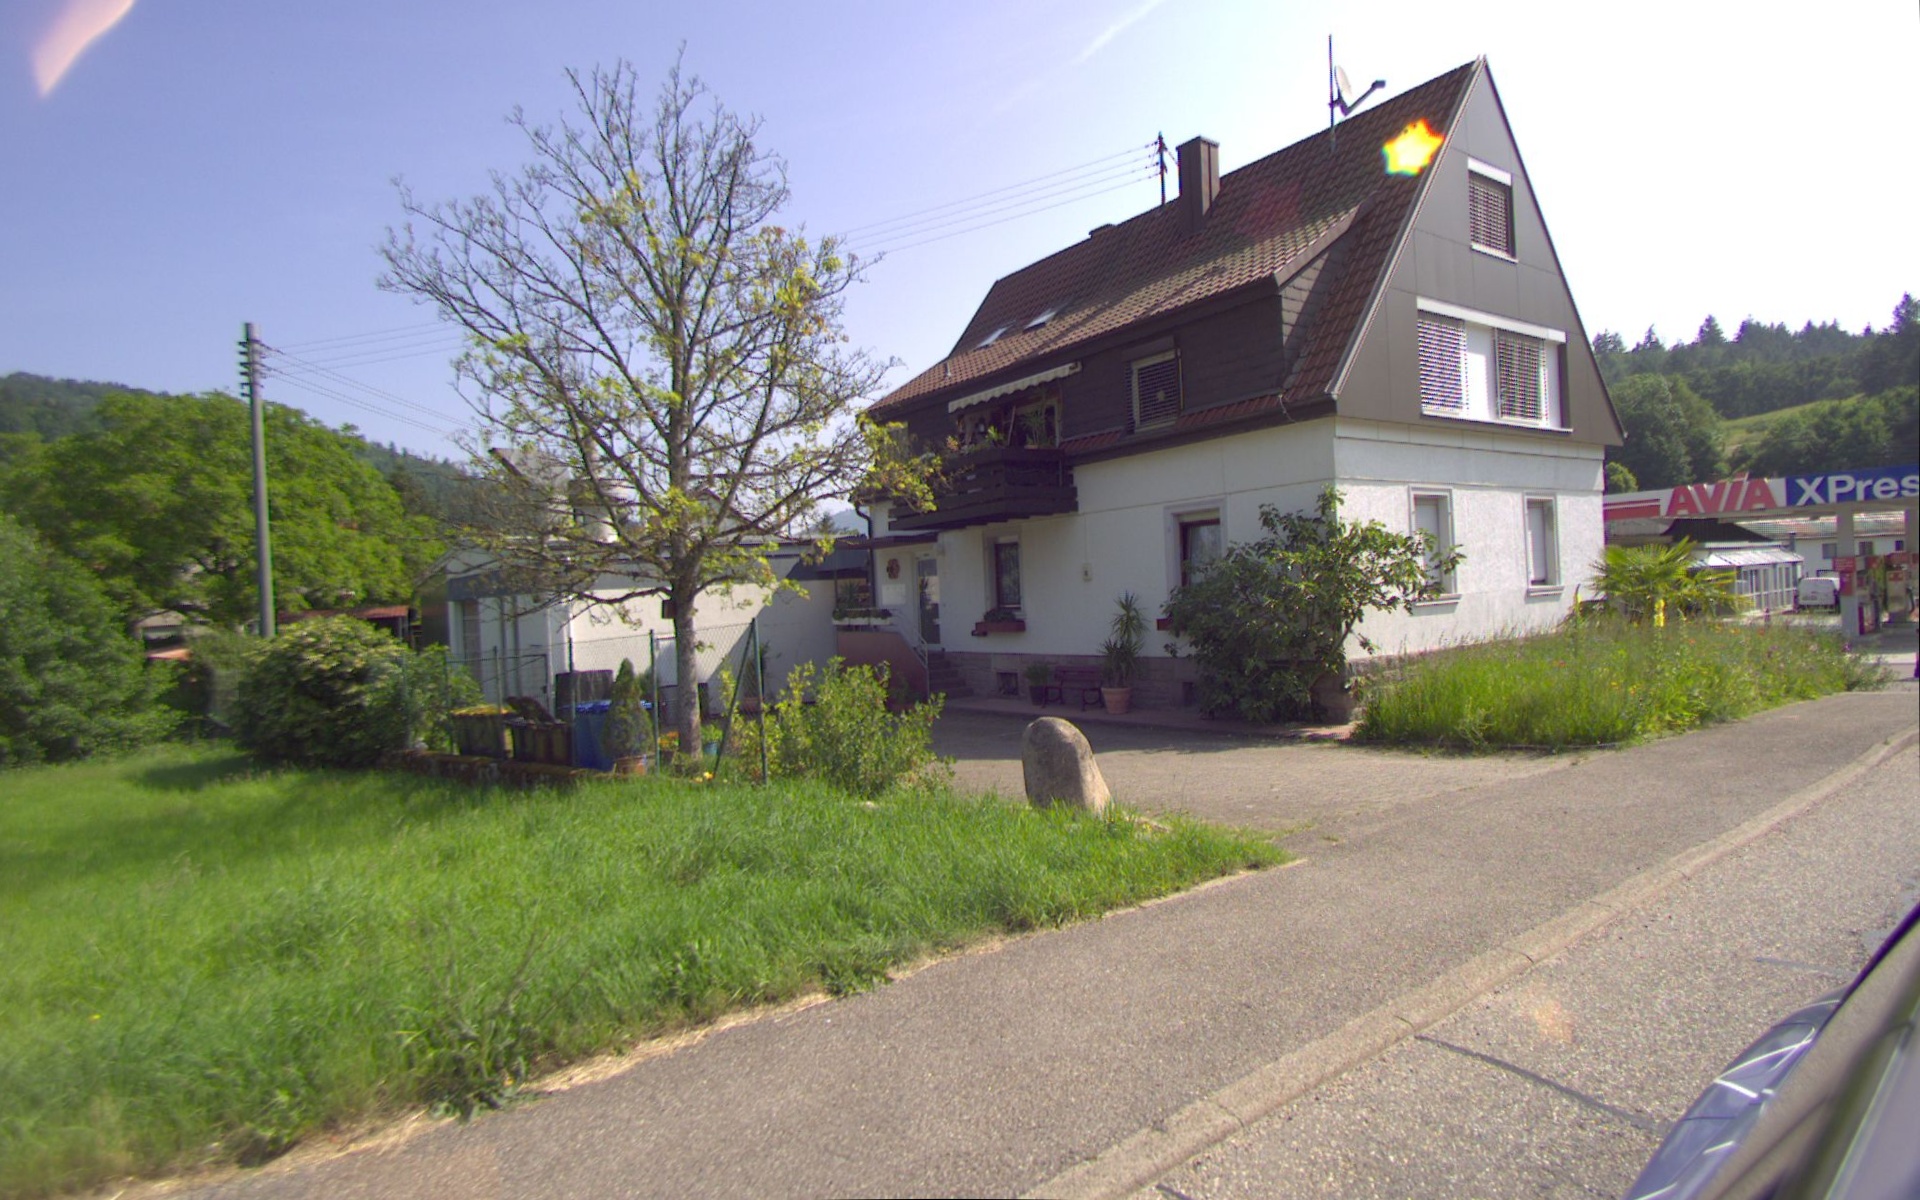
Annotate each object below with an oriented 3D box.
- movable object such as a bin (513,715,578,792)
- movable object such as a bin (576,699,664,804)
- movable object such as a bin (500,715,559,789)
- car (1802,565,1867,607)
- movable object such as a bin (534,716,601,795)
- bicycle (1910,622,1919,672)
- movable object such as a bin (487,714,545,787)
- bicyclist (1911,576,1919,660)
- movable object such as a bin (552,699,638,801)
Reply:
[{"bbox_3d":[-5.479,2.020,13.384,0.567,0.911,0.578,-5,-2,42],"label":"movable object such as a bin"},{"bbox_3d":[-4.077,1.790,12.138,0.567,1.133,0.781,-5,-2,42],"label":"movable object such as a bin"},{"bbox_3d":[-5.840,2.051,13.731,0.418,0.911,0.578,-5,-2,42],"label":"movable object such as a bin"},{"bbox_3d":[43.076,-0.700,49.826,3.929,1.839,1.683,-3,-2,-39],"label":"car"},{"bbox_3d":[-5.042,1.983,12.992,0.567,0.911,0.578,-5,-2,42],"label":"movable object such as a bin"},{"bbox_3d":[18.060,0.836,18.286,0.683,0.930,1.931,-4,-4,26],"label":"bicycle"},{"bbox_3d":[-6.153,2.078,14.027,0.418,0.911,0.578,-5,-2,42],"label":"movable object such as a bin"},{"bbox_3d":[18.088,0.345,18.425,0.683,1.654,1.130,-4,-5,26],"label":"bicyclist"},{"bbox_3d":[-4.517,1.827,12.532,0.567,1.133,0.787,-5,-2,42],"label":"movable object such as a bin"}]
